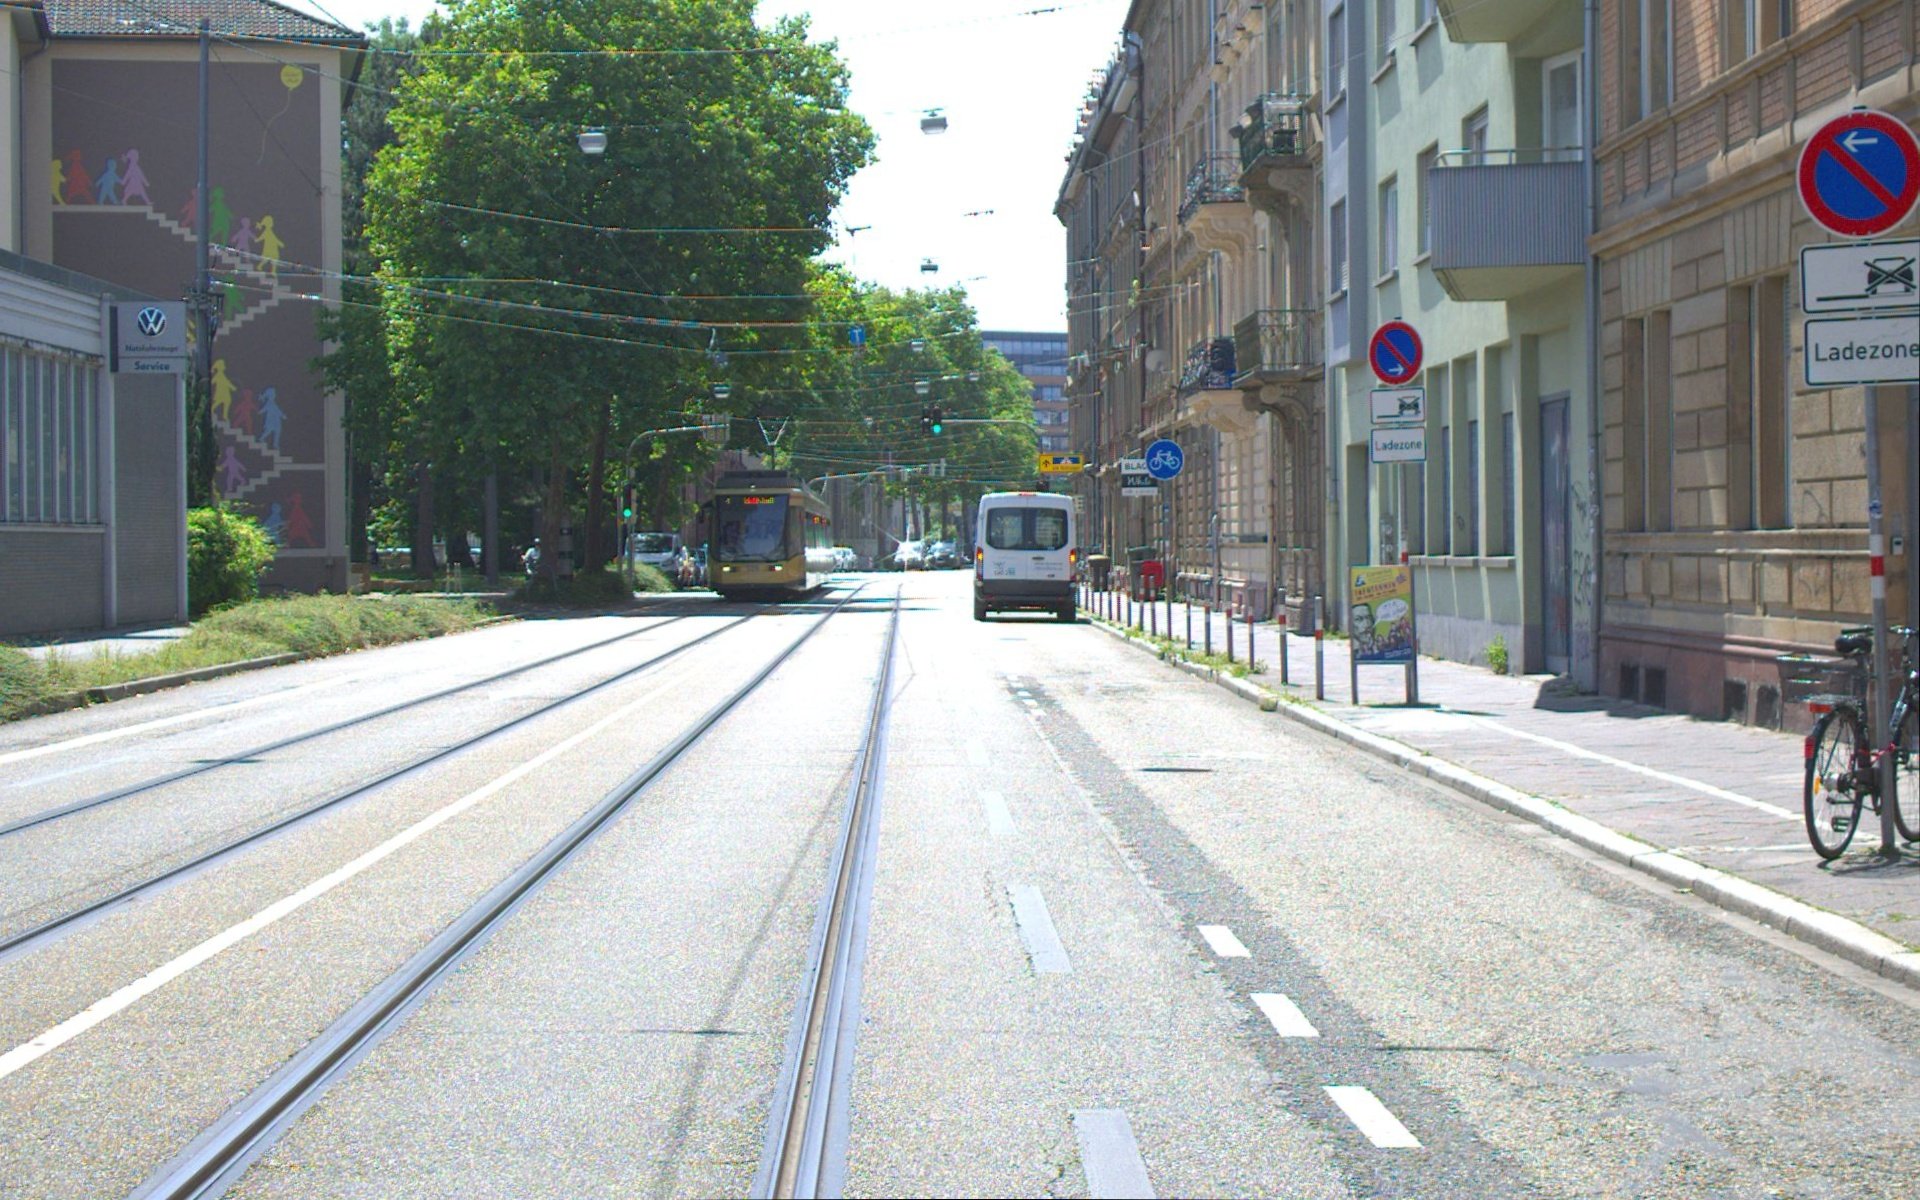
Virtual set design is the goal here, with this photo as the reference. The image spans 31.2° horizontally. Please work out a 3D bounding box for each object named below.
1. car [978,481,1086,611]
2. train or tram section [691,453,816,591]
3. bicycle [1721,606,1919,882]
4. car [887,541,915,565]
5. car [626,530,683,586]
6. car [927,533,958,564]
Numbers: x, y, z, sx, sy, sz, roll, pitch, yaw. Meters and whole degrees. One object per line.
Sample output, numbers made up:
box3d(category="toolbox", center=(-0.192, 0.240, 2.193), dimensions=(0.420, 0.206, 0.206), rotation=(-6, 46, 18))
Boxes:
box3d(category="car", center=(1.410, -1.101, 69.506), dimensions=(2.067, 2.492, 5.454), rotation=(1, 1, 0))
box3d(category="train or tram section", center=(-5.648, -2.150, 96.062), dimensions=(2.960, 3.568, 13.424), rotation=(0, 1, -1))
box3d(category="bicycle", center=(4.057, 0.620, 15.814), dimensions=(0.499, 1.127, 2.239), rotation=(0, 1, 28))
box3d(category="car", center=(-3.536, -2.823, 205.467), dimensions=(1.528, 1.404, 3.490), rotation=(0, 1, -3))
box3d(category="car", center=(-10.609, -1.478, 119.573), dimensions=(1.800, 1.916, 4.001), rotation=(0, 1, -3))
box3d(category="car", center=(-1.100, -3.200, 212.810), dimensions=(1.673, 1.853, 4.001), rotation=(0, 1, -3))
